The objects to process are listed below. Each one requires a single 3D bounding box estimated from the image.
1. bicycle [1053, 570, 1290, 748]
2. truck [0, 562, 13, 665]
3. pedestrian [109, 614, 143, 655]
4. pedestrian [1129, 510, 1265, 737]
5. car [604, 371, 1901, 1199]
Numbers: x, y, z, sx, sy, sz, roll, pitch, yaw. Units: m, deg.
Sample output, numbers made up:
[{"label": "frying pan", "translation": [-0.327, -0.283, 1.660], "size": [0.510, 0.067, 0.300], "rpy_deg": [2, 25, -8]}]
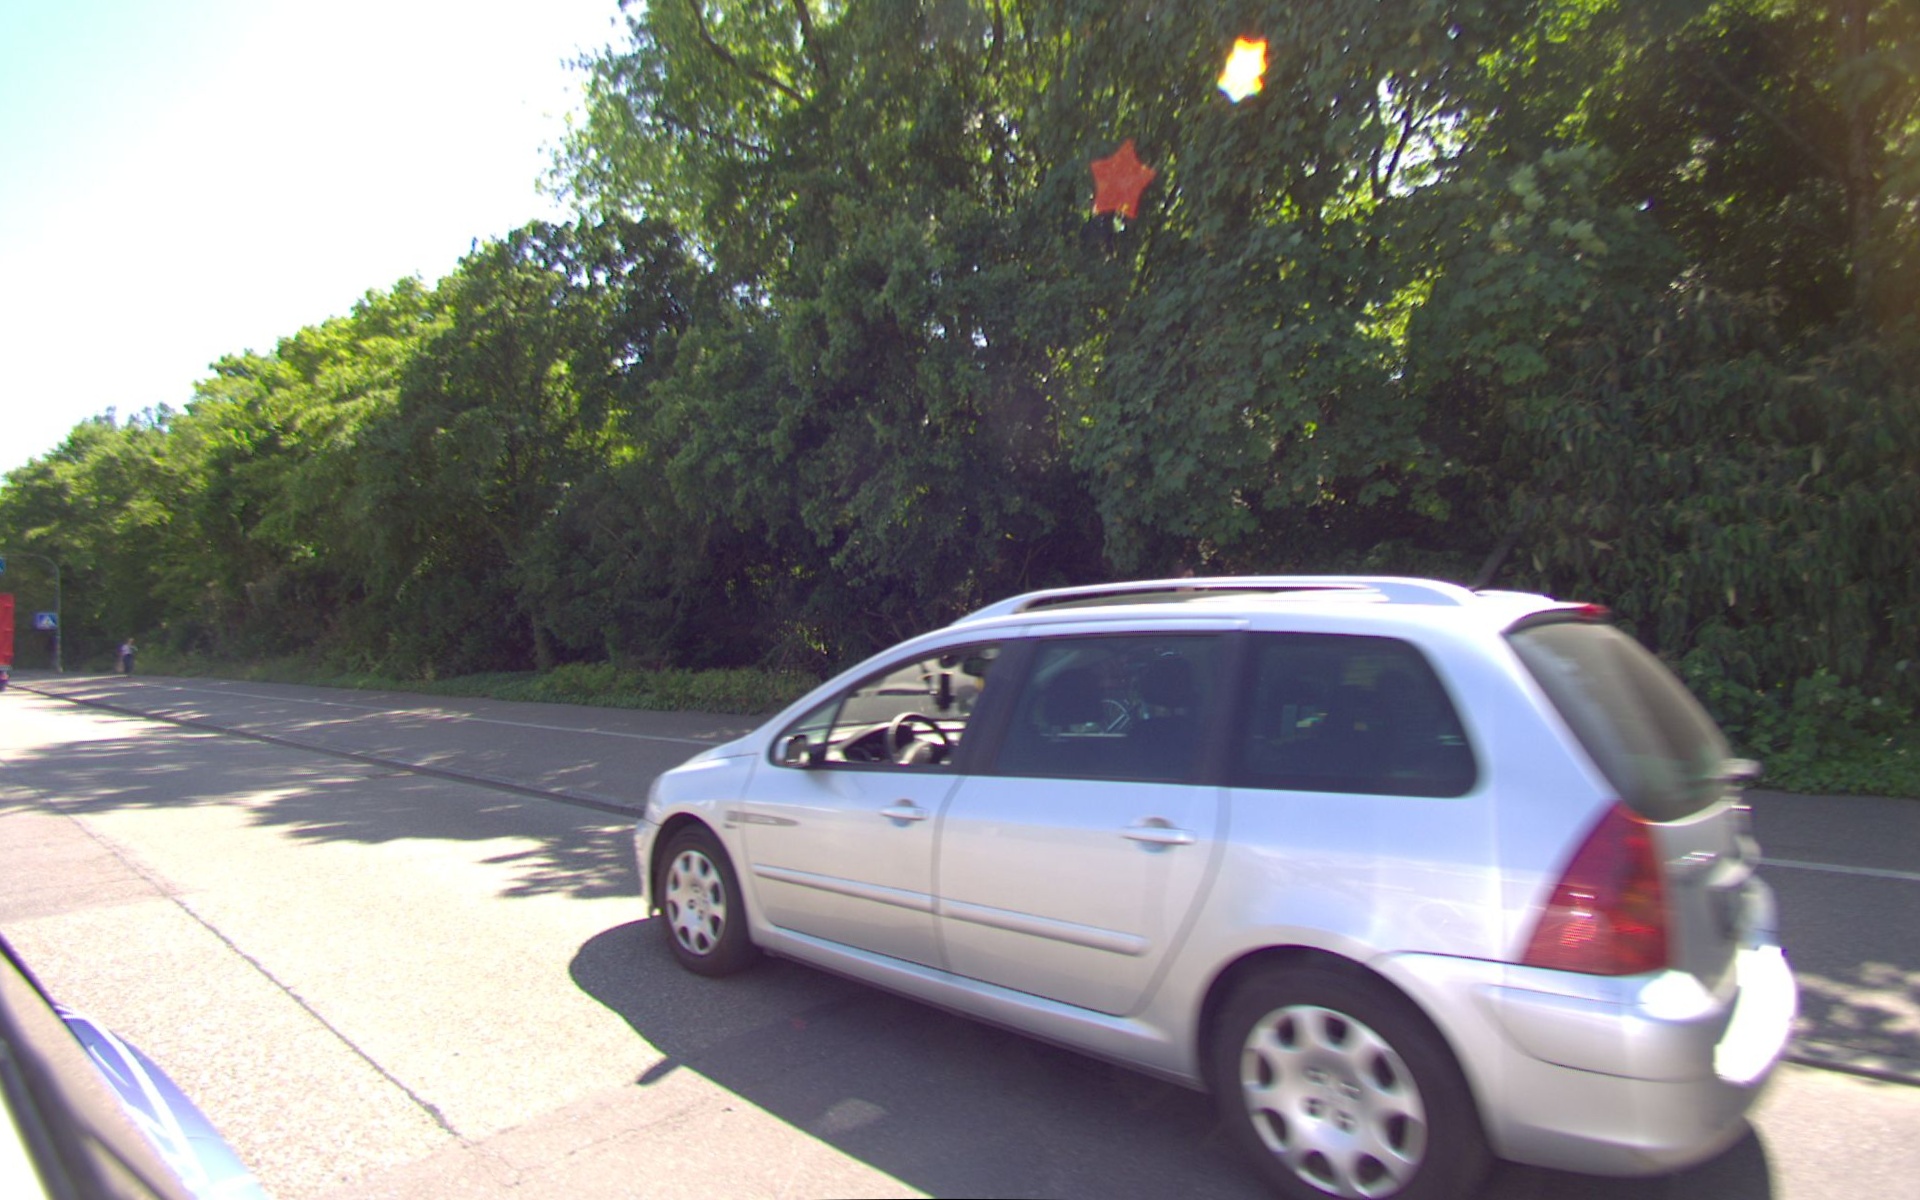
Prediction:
[{"label": "bicycle", "translation": [1.611, 0.446, 8.076], "size": [0.514, 1.246, 1.965], "rpy_deg": [-2, -1, -36]}, {"label": "truck", "translation": [-36.073, 0.585, 36.365], "size": [7.160, 3.467, 2.297], "rpy_deg": [-4, -6, 43]}, {"label": "pedestrian", "translation": [-34.563, 1.435, 41.927], "size": [0.885, 1.625, 0.922], "rpy_deg": [-3, -2, 40]}, {"label": "pedestrian", "translation": [1.936, 0.176, 8.214], "size": [0.774, 1.730, 0.802], "rpy_deg": [-3, 1, 31]}, {"label": "car", "translation": [0.550, 0.536, 3.799], "size": [4.271, 1.585, 1.772], "rpy_deg": [-4, -4, 43]}]
